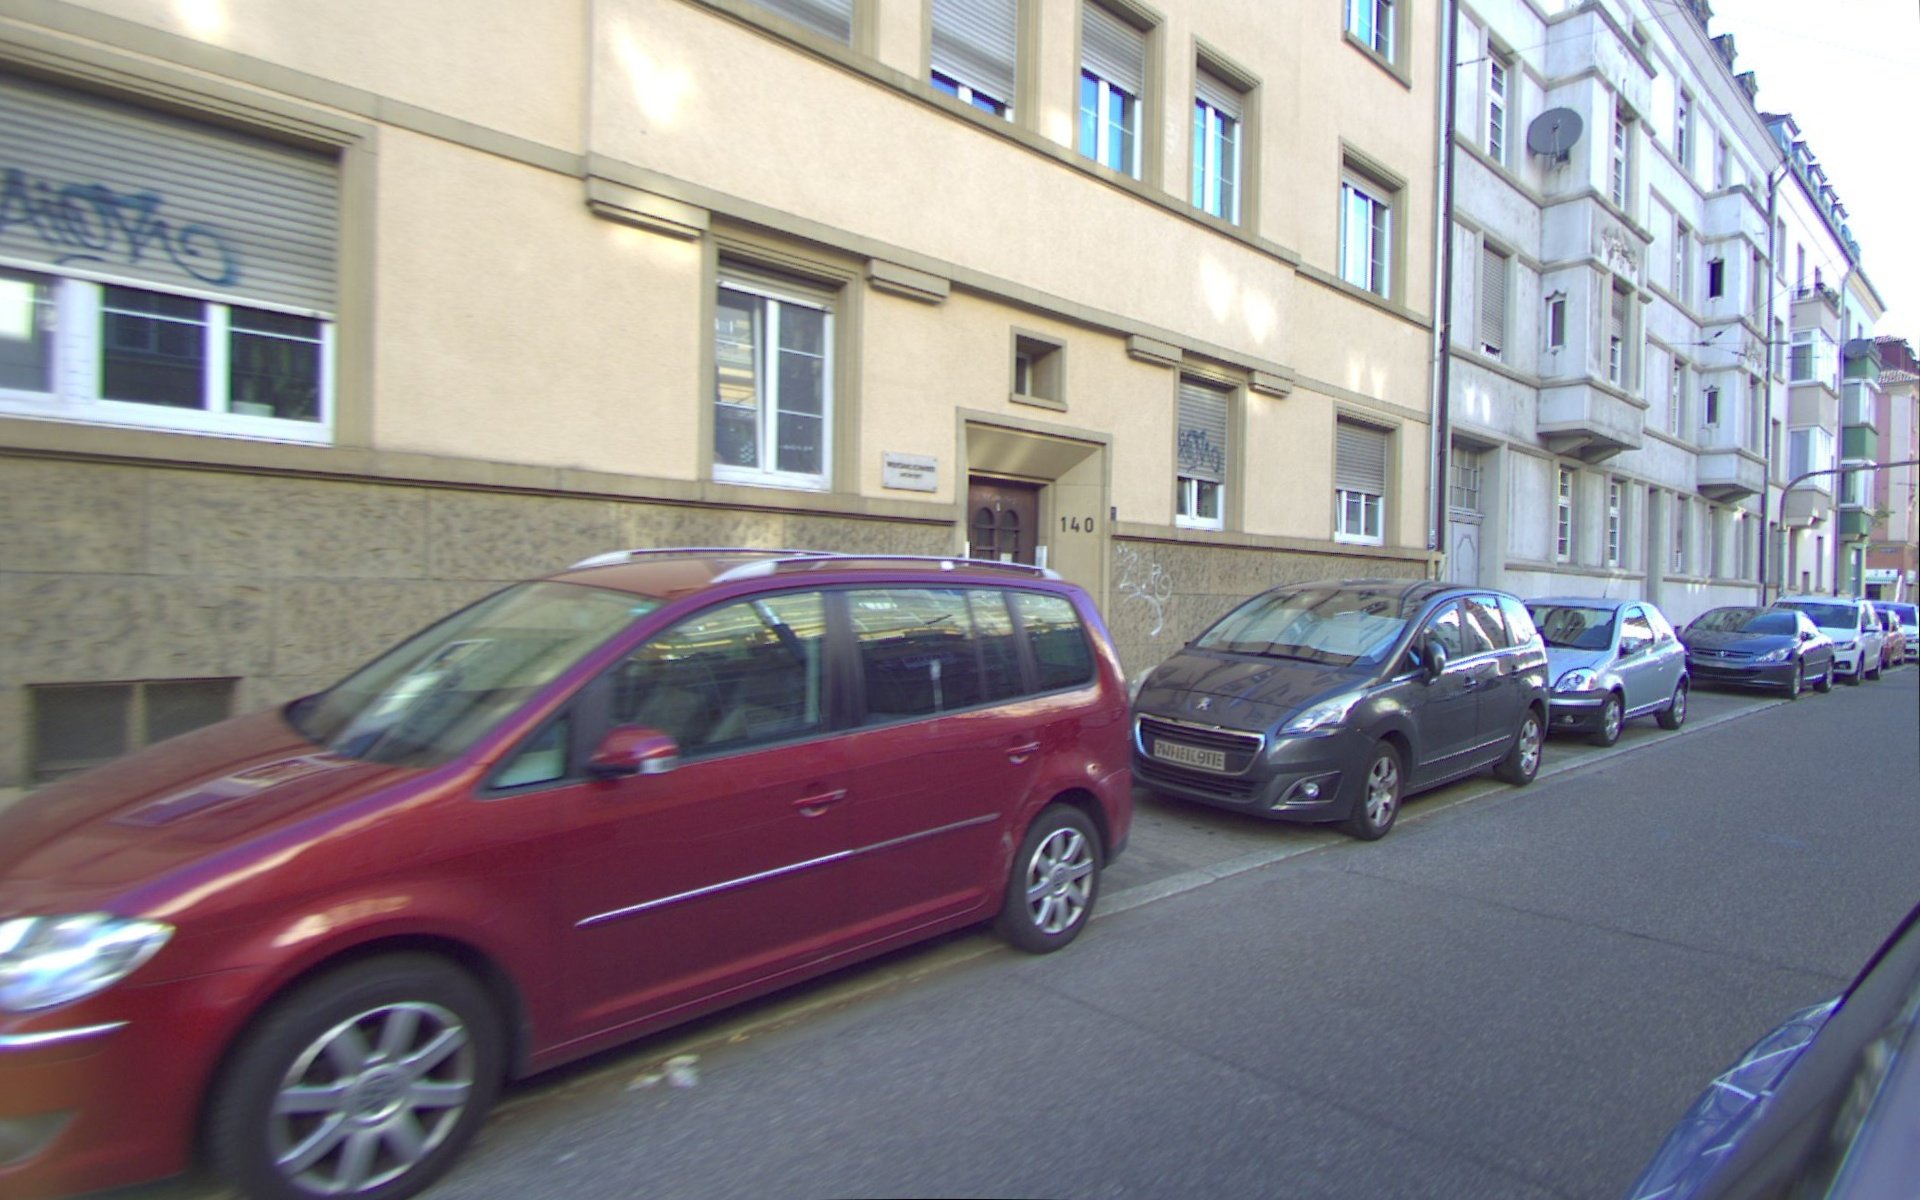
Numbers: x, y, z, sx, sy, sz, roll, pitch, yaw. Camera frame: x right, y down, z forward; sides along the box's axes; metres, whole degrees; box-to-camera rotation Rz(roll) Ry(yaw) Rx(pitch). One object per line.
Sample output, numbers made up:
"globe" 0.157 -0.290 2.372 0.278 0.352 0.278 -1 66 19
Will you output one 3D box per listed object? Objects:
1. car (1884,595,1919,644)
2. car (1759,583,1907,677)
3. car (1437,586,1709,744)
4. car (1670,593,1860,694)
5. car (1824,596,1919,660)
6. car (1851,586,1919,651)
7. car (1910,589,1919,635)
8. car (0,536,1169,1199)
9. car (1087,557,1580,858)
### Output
"car" 31.462 0.623 32.872 3.795 1.524 1.702 0 1 -41
"car" 18.270 0.550 21.107 4.510 1.714 1.712 0 2 -42
"car" 7.008 0.616 11.464 3.418 1.481 1.612 0 2 -41
"car" 13.820 0.655 17.289 4.131 1.470 1.703 0 2 -40
"car" 24.063 0.693 26.513 3.305 1.502 1.570 0 3 -40
"car" 27.304 0.495 29.169 4.112 1.719 1.703 0 2 -39
"car" 35.319 0.440 36.104 3.892 1.610 1.701 0 1 -41
"car" -1.093 0.654 3.834 4.176 1.629 1.593 0 2 -44
"car" 3.066 0.574 7.789 4.293 1.672 1.792 0 2 -43
